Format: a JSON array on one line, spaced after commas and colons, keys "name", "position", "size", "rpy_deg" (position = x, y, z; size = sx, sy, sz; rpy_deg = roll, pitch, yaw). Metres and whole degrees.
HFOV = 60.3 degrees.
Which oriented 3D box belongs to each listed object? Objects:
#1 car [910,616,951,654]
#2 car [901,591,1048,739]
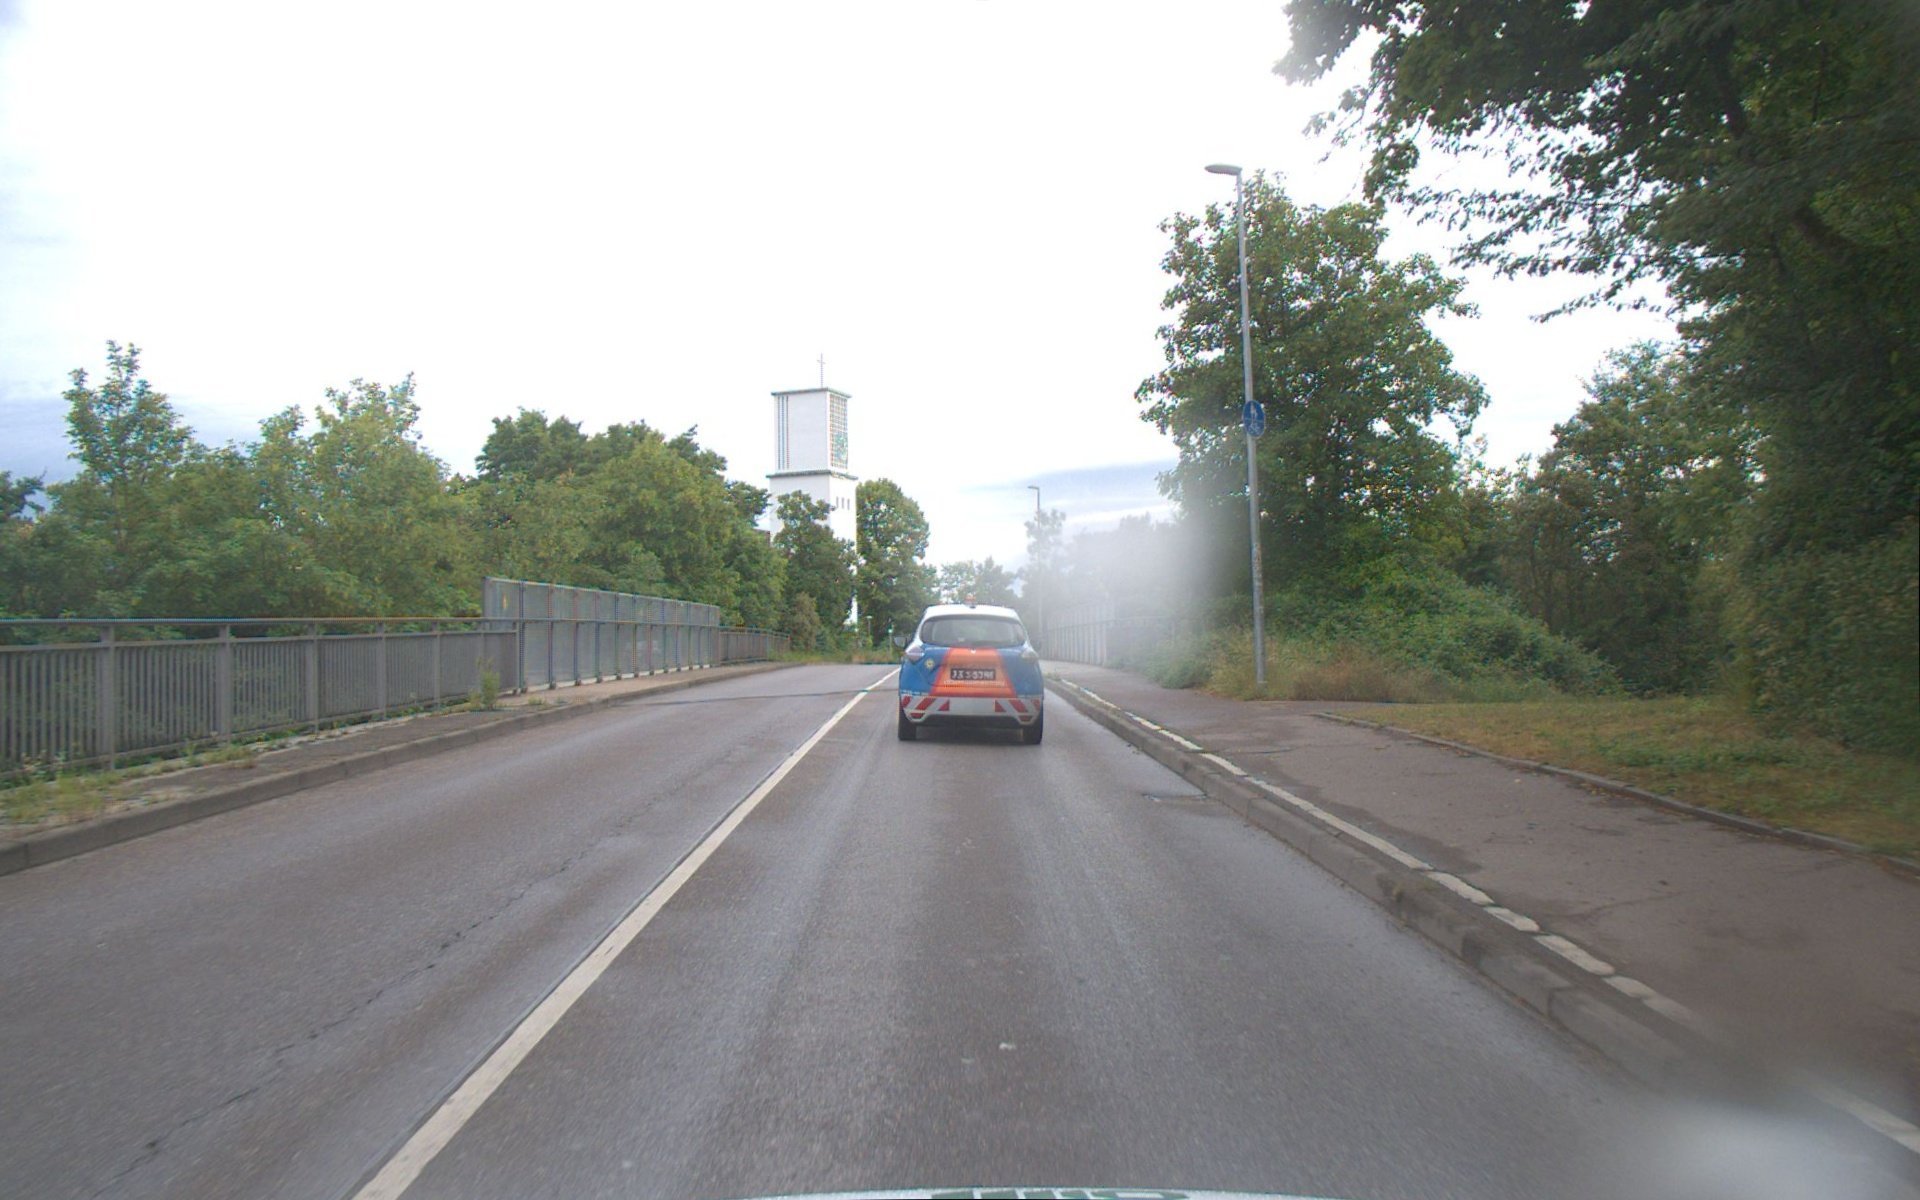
[{"name": "car", "position": [-1.371, 1.589, 75.528], "size": [1.766, 1.618, 3.562], "rpy_deg": [-2, 0, -2]}, {"name": "car", "position": [0.135, 0.755, 20.179], "size": [1.624, 1.621, 3.567], "rpy_deg": [-1, -1, -1]}]
